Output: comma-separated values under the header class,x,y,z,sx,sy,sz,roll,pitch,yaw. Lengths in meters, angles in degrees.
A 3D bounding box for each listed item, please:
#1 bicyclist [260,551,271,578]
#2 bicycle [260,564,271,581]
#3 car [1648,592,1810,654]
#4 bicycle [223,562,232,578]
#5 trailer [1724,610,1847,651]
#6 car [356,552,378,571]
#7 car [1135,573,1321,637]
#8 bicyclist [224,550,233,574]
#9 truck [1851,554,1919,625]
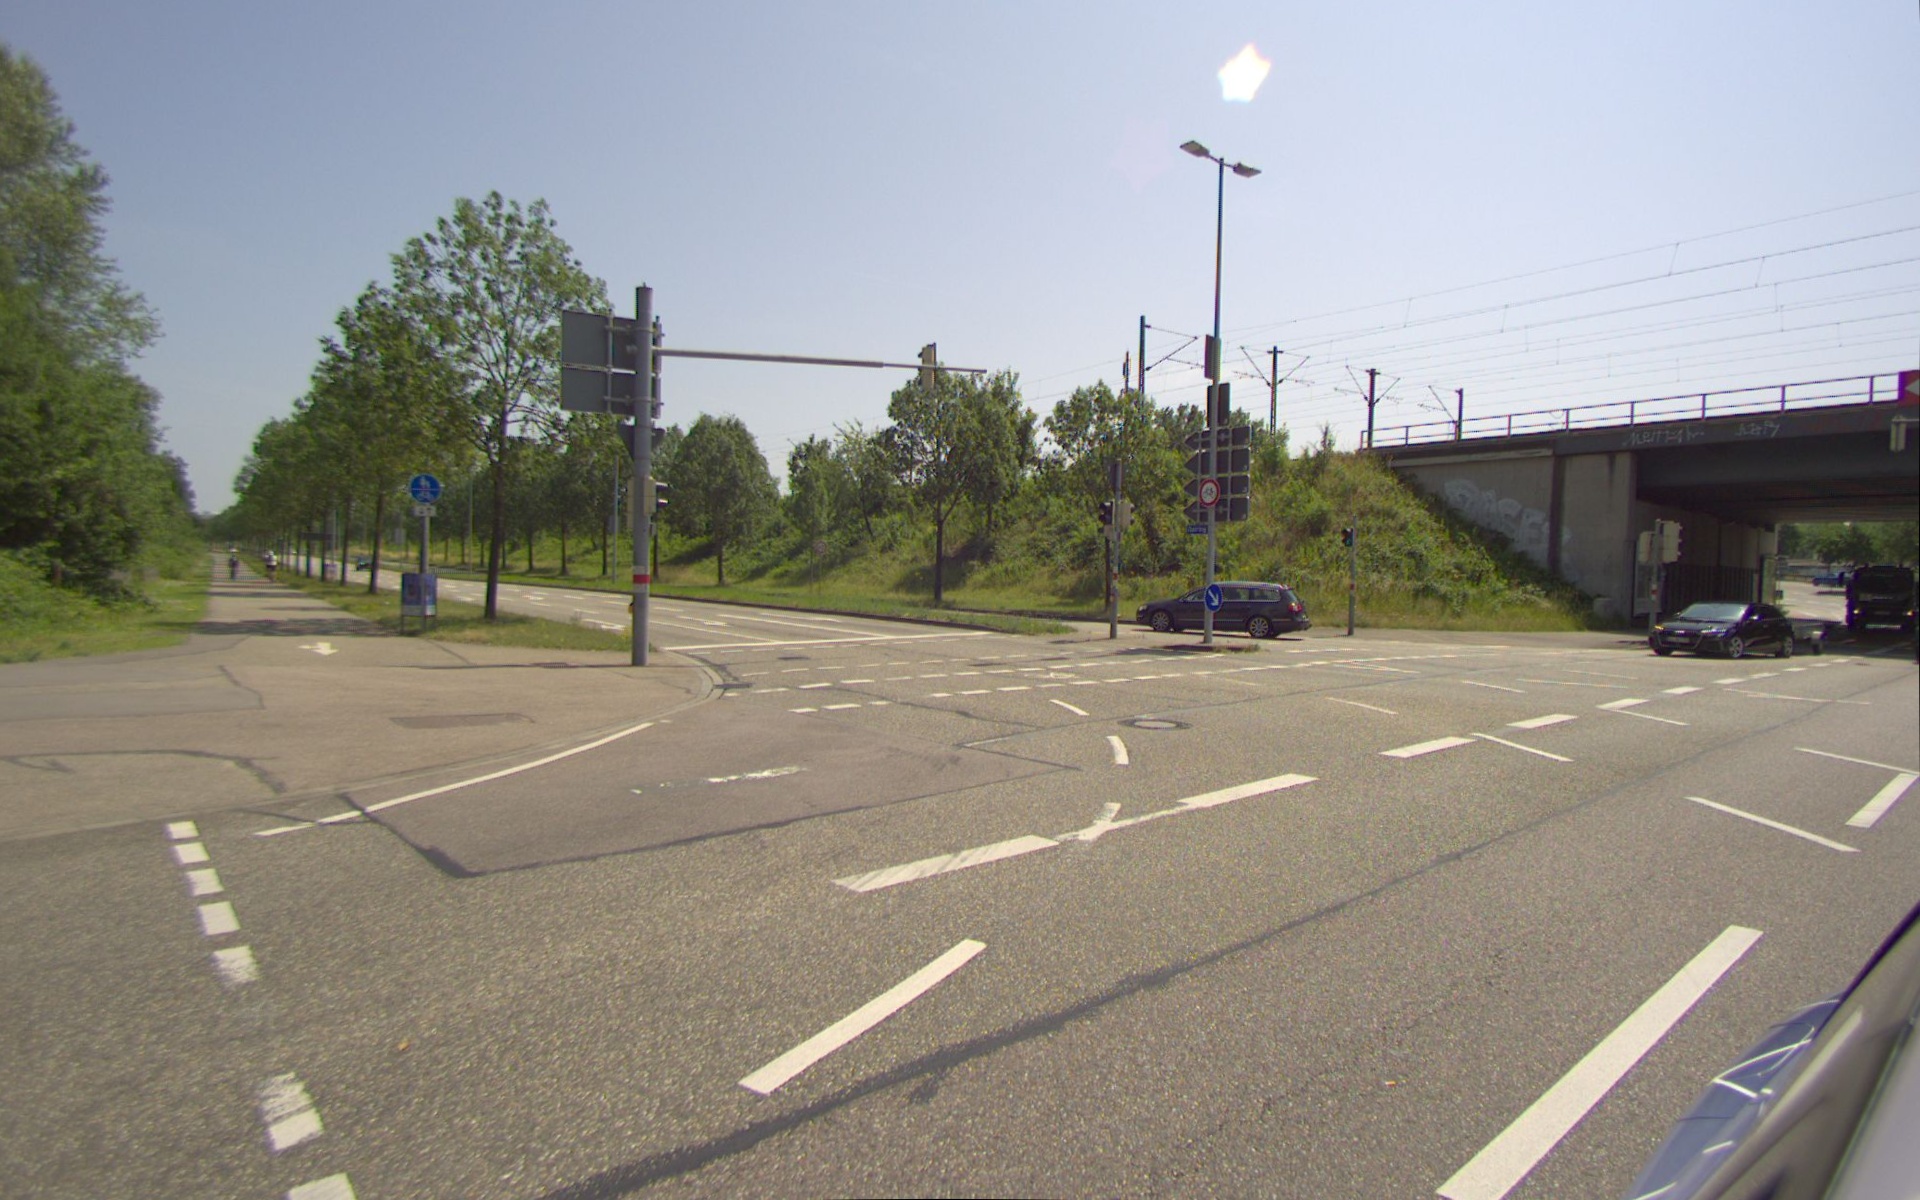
class,x,y,z,sx,sy,sz,roll,pitch,yaw
bicyclist,-37.393,-1.920,54.479,0.475,1.451,0.491,1,1,-34
bicycle,-37.330,-1.497,54.397,0.432,0.895,1.454,1,2,-34
car,19.361,0.550,25.465,3.824,1.407,1.812,1,2,-29
bicycle,-42.592,-1.768,58.882,0.371,0.895,1.124,1,2,-34
trailer,22.426,0.786,27.473,3.761,0.953,1.682,0,2,-36
car,-66.725,-4.387,113.840,1.961,2.038,4.003,1,2,-33
car,7.329,0.094,27.802,4.634,1.521,1.791,2,2,30
bicyclist,-42.632,-2.230,58.966,0.412,1.399,0.491,1,1,-34
truck,42.121,-0.453,45.629,2.876,2.952,8.389,1,1,41
